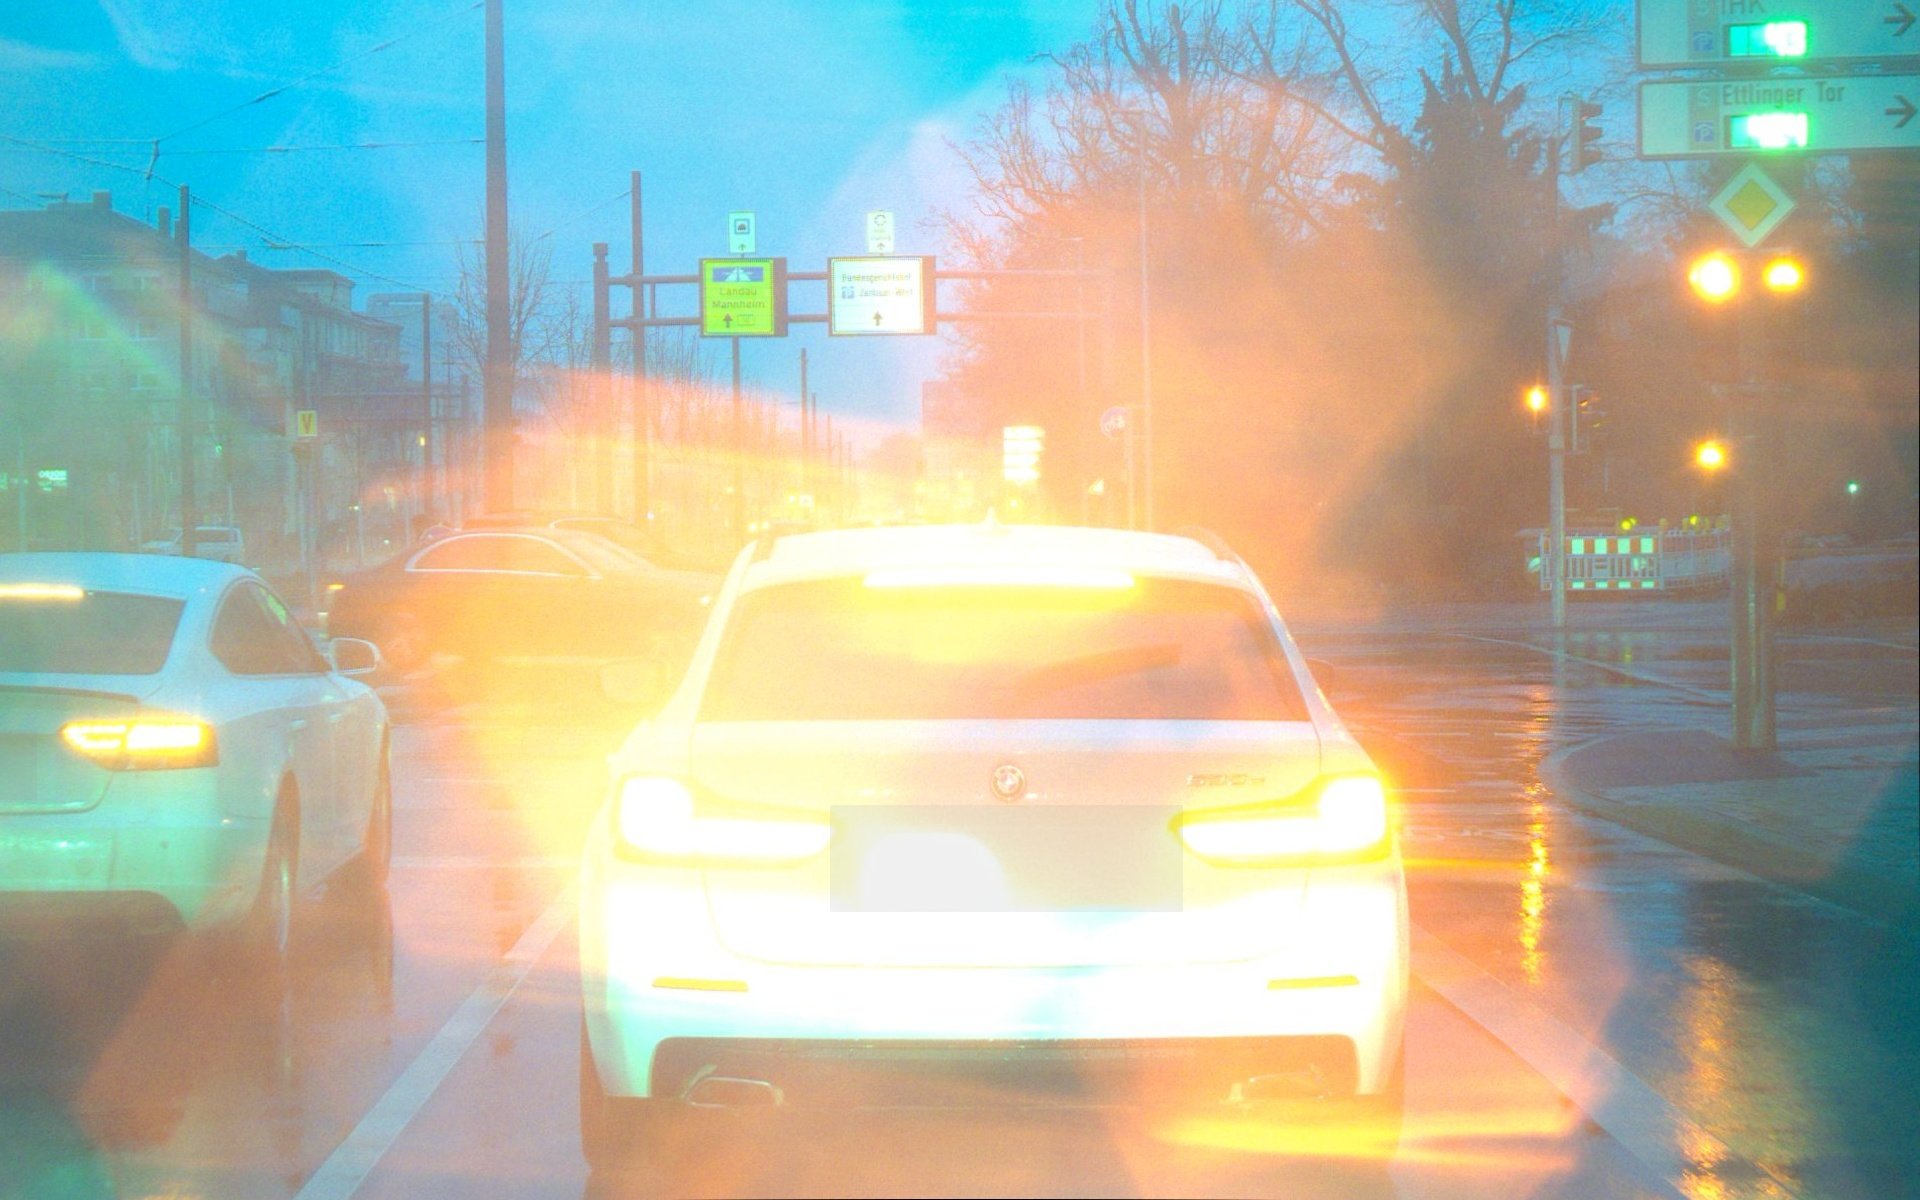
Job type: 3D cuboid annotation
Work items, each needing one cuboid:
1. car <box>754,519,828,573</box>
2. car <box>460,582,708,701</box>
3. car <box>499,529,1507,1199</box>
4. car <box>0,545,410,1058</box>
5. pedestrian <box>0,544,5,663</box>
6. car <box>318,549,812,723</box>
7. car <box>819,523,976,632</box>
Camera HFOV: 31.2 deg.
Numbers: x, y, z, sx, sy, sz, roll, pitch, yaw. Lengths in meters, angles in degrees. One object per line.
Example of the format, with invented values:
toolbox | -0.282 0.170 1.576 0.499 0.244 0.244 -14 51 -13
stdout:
car | -4.678 -1.524 95.307 1.993 1.451 4.369 0 1 -3
car | -5.317 0.556 49.099 1.845 1.603 3.940 1 0 22
car | -0.009 0.556 8.985 1.993 1.451 4.369 0 1 -3
car | -3.201 0.557 12.191 1.993 1.451 4.369 0 1 -3
pedestrian | -14.161 0.044 49.458 0.790 1.706 0.813 1 0 -16
car | -4.056 0.343 35.443 4.699 1.714 1.867 0 0 17
car | -1.016 -0.357 53.343 1.842 1.603 3.946 1 0 -10
